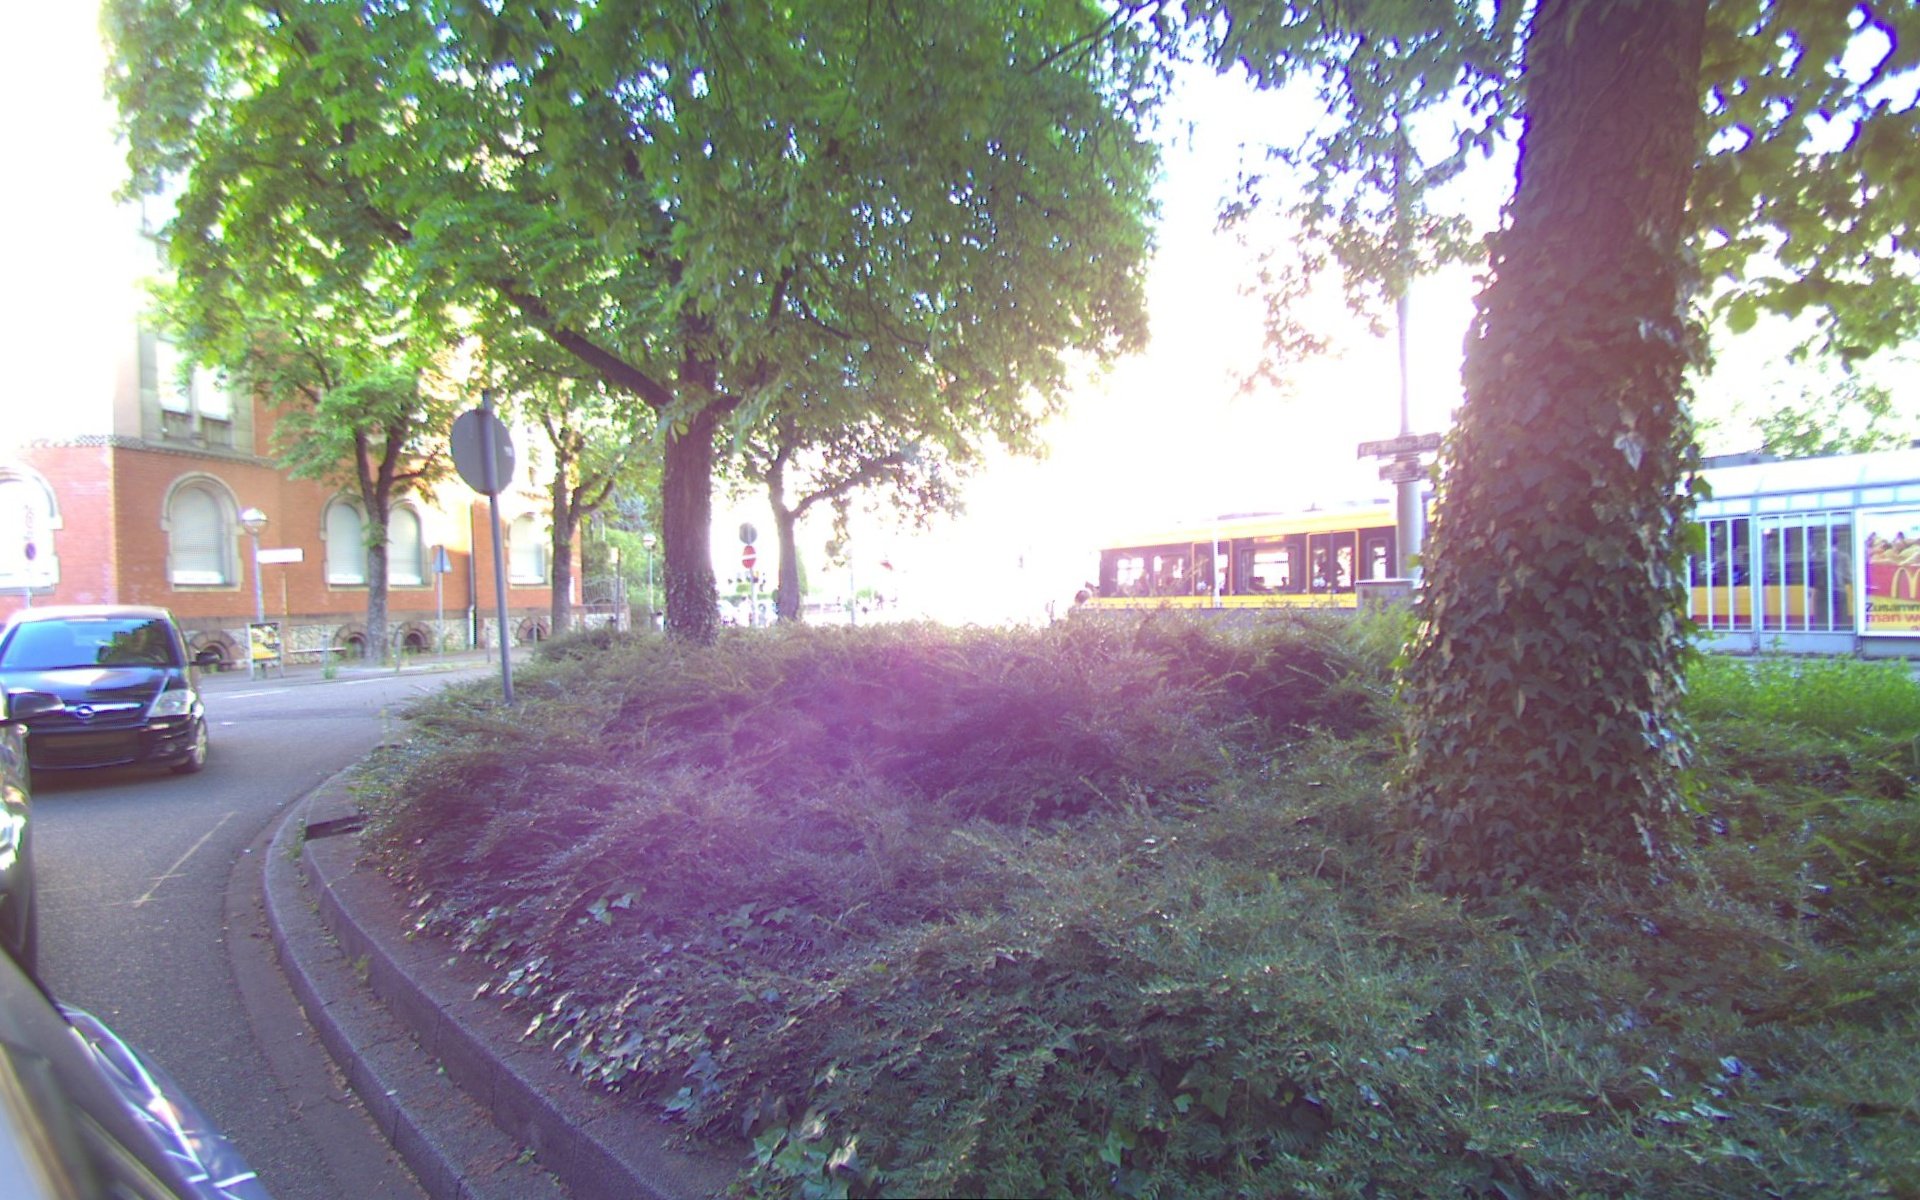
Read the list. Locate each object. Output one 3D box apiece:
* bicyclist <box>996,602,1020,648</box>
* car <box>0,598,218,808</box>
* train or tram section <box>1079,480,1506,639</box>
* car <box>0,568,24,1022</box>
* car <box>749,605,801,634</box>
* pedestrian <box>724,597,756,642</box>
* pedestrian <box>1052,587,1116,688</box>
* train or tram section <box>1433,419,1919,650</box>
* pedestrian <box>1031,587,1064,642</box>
[{"bbox_3d":[1.706,0.874,35.935,0.588,1.585,0.557,-2,0,-30],"label":"bicyclist"},{"bbox_3d":[-8.516,0.857,9.859,1.655,1.640,3.692,-2,0,-42],"label":"car"},{"bbox_3d":[8.501,-0.873,28.891,2.727,3.584,12.718,-2,0,-32],"label":"train or tram section"},{"bbox_3d":[-5.433,0.734,4.537,1.768,1.590,4.264,-1,-1,-43],"label":"car"},{"bbox_3d":[-9.829,0.999,53.562,1.707,1.428,4.013,-2,0,-25],"label":"car"},{"bbox_3d":[-8.583,0.758,39.502,0.722,1.647,0.897,-3,1,27],"label":"pedestrian"},{"bbox_3d":[1.853,0.542,15.133,0.698,1.454,0.602,-2,0,-25],"label":"pedestrian"},{"bbox_3d":[15.117,-1.036,18.184,2.739,3.614,12.456,-2,0,-32],"label":"train or tram section"},{"bbox_3d":[2.741,0.434,31.743,0.892,1.647,0.725,-3,1,0],"label":"pedestrian"}]
